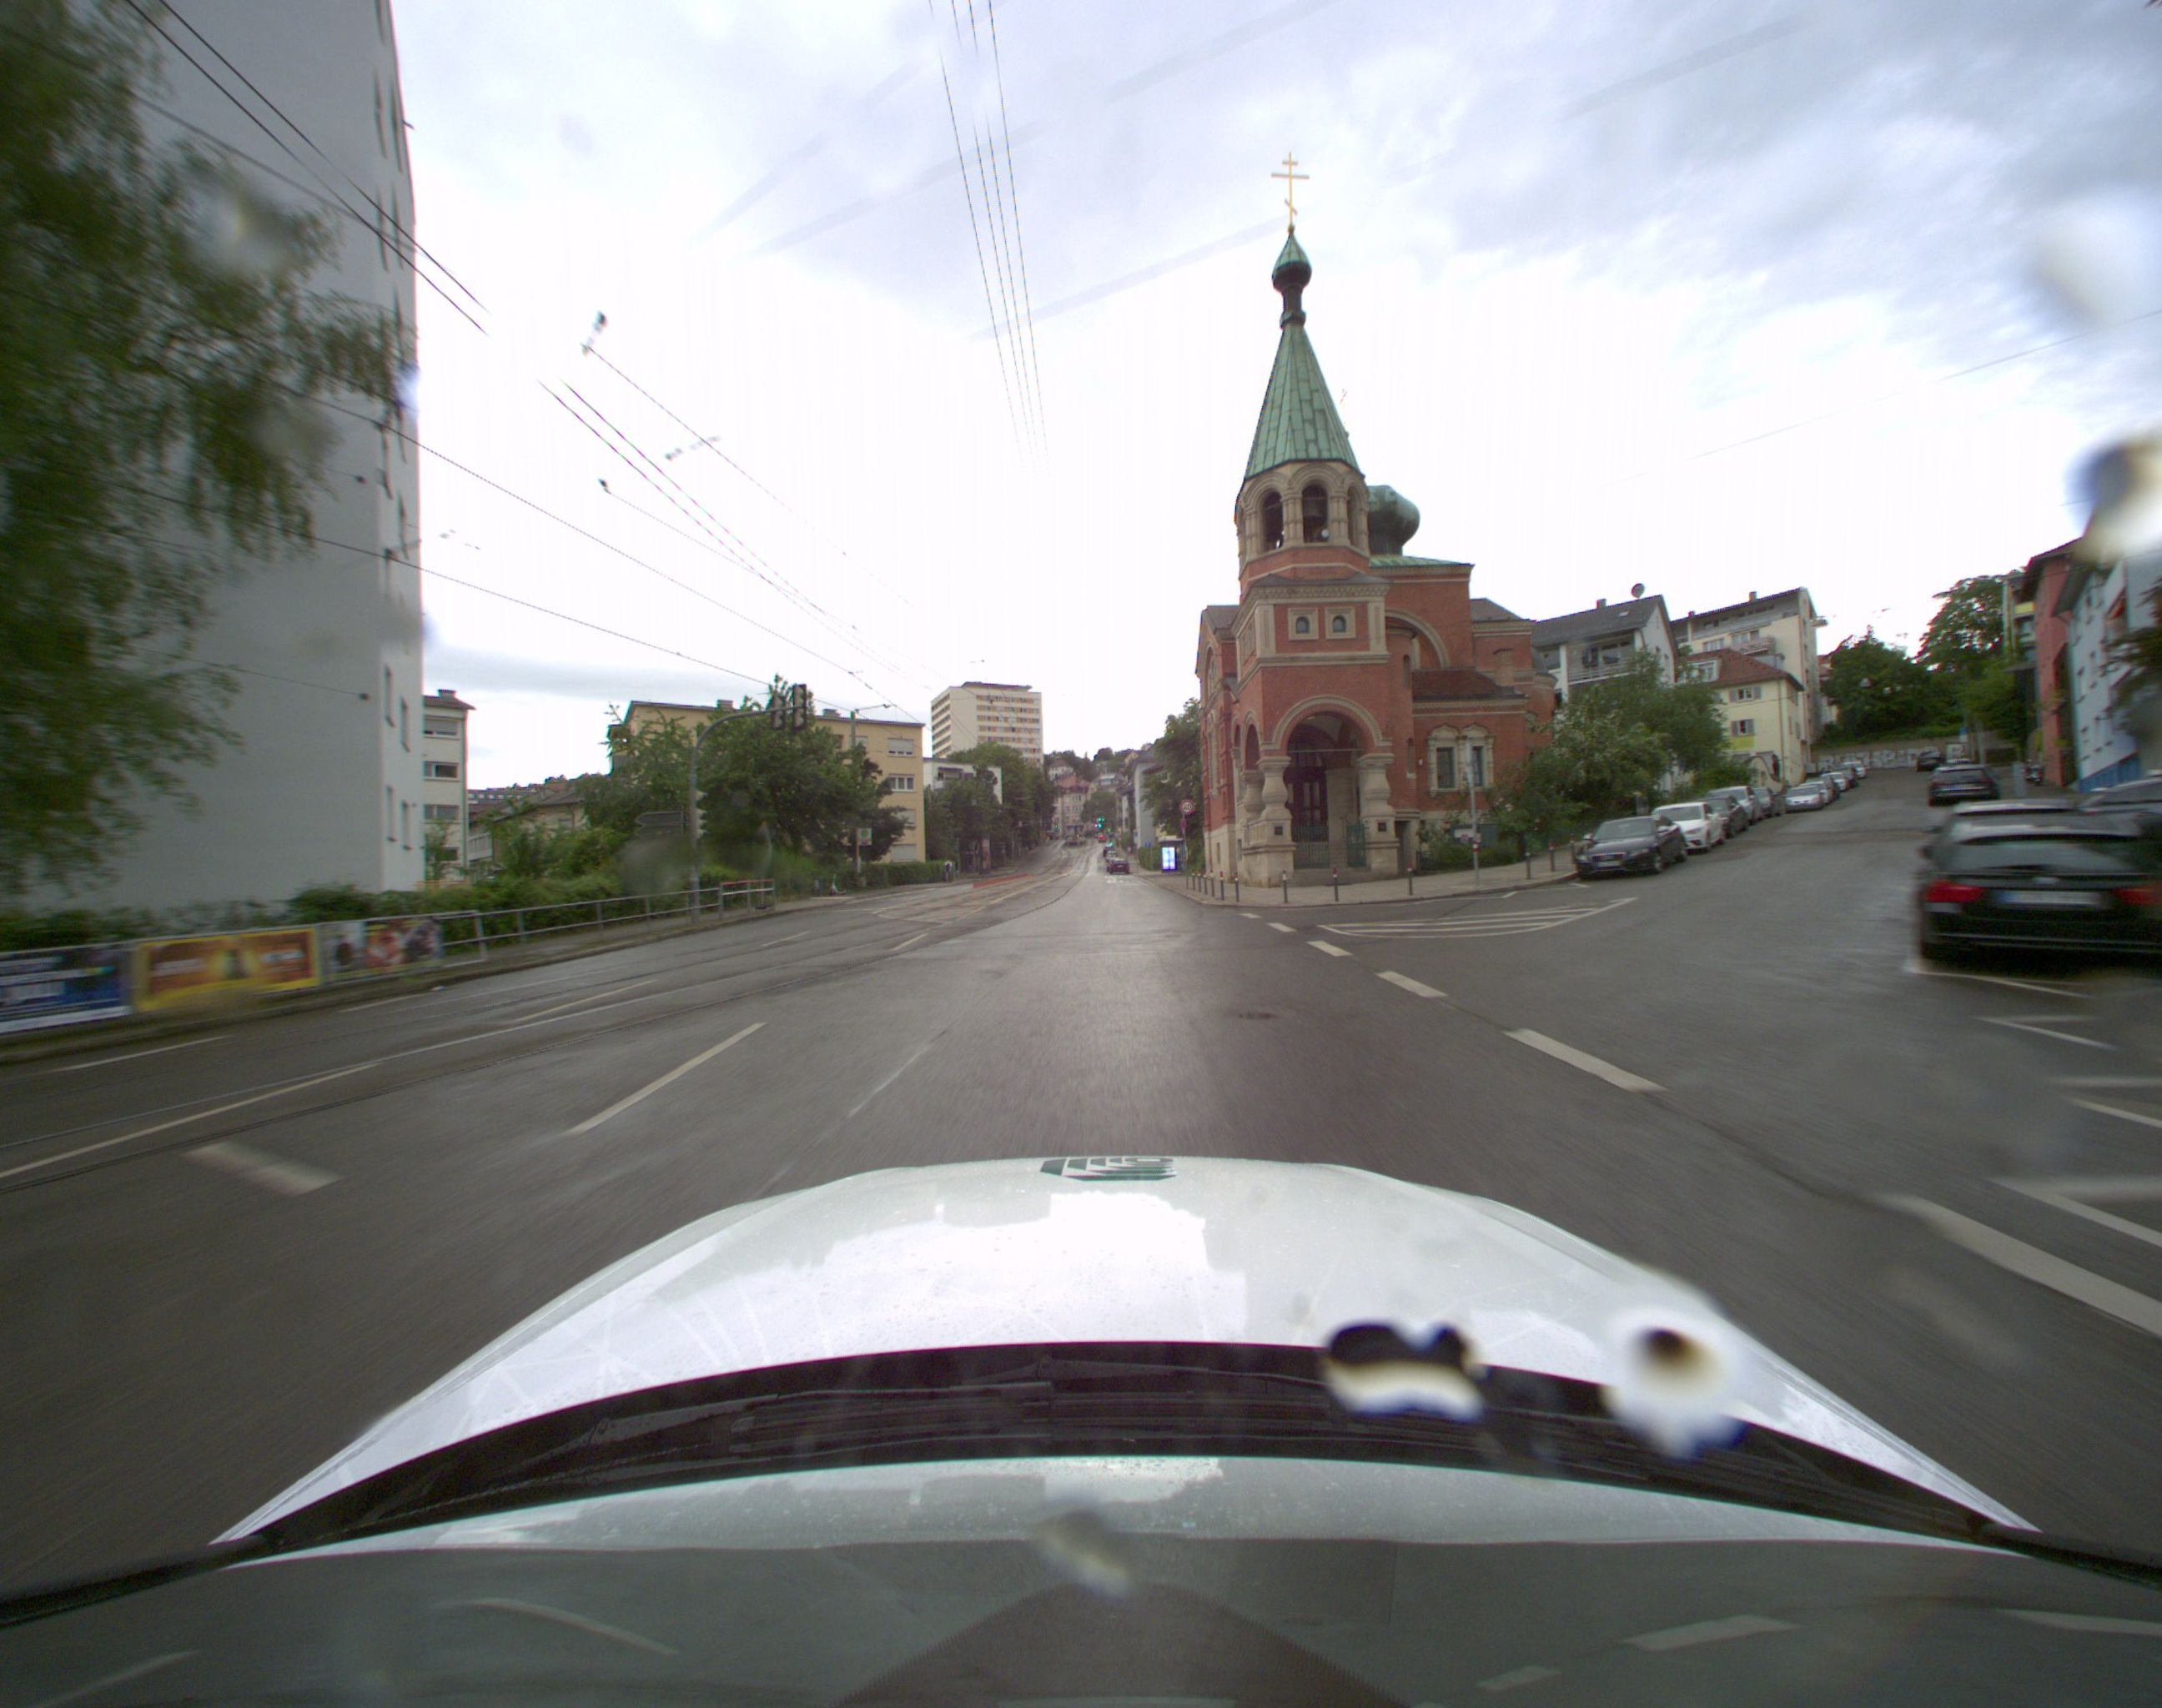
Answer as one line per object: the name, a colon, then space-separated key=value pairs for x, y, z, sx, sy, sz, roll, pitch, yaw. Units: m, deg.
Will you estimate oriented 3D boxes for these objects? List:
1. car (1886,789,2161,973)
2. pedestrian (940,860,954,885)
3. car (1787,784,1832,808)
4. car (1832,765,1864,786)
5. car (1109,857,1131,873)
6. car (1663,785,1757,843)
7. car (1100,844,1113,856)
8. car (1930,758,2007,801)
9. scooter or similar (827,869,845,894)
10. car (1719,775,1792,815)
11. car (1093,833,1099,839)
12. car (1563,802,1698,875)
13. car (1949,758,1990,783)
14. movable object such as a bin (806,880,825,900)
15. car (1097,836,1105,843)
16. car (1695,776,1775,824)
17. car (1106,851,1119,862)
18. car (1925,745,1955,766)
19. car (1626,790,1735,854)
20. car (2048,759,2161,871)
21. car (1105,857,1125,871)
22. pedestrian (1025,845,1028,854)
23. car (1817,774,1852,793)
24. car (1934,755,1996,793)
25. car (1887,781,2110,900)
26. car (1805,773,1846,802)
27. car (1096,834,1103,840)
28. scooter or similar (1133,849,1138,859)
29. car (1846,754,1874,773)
car: x=10.281 y=0.161 z=8.919 sx=4.476 sy=1.457 sz=1.977 roll=-6 pitch=1 yaw=-45
pedestrian: x=-10.201 y=1.420 z=62.050 sx=0.917 sy=1.846 sz=1.016 roll=-1 pitch=-2 yaw=-3
car: x=44.736 y=-3.590 z=49.962 sx=3.851 sy=1.205 sz=1.672 roll=-6 pitch=1 yaw=-43
car: x=63.713 y=-6.535 z=67.663 sx=3.852 sy=1.204 sz=1.672 roll=-12 pitch=5 yaw=-43
car: x=3.722 y=1.028 z=78.862 sx=1.852 sy=1.487 sz=4.644 roll=-1 pitch=0 yaw=0
car: x=22.109 y=-1.417 z=28.590 sx=3.653 sy=1.443 sz=1.918 roll=-10 pitch=0 yaw=-43
car: x=4.142 y=-0.660 z=131.657 sx=1.900 sy=1.641 sz=4.690 roll=-1 pitch=2 yaw=0
car: x=34.895 y=-2.883 z=31.996 sx=4.021 sy=1.406 sz=1.807 roll=-3 pitch=0 yaw=-40
scooter or similar: x=-12.023 y=1.335 z=40.006 sx=0.572 sy=1.184 sz=1.595 roll=-1 pitch=-2 yaw=-7
car: x=30.287 y=-2.594 z=36.502 sx=4.474 sy=1.507 sz=1.918 roll=-3 pitch=-1 yaw=-43
car: x=4.655 y=-5.774 z=259.123 sx=1.900 sy=1.641 sz=4.690 roll=-1 pitch=2 yaw=0
car: x=14.646 y=-0.454 z=21.584 sx=4.506 sy=1.368 sz=1.918 roll=-8 pitch=1 yaw=-43
car: x=64.701 y=-6.096 z=59.290 sx=4.022 sy=1.455 sz=1.807 roll=-8 pitch=4 yaw=-40
movable object such as a bin: x=-12.354 y=1.668 z=37.902 sx=0.685 sy=0.882 sz=0.759 roll=-1 pitch=-2 yaw=-4
car: x=5.002 y=-3.624 z=203.624 sx=1.793 sy=1.645 sz=4.005 roll=-1 pitch=0 yaw=4
car: x=26.230 y=-2.170 z=32.635 sx=3.869 sy=1.514 sz=1.918 roll=-9 pitch=3 yaw=-43
car: x=4.394 y=0.372 z=115.378 sx=1.699 sy=1.433 sz=4.102 roll=-1 pitch=2 yaw=0
car: x=78.612 y=-9.036 z=74.564 sx=4.026 sy=1.405 sz=1.806 roll=-14 pitch=7 yaw=-44
car: x=18.492 y=-1.008 z=25.048 sx=3.953 sy=1.495 sz=1.923 roll=-7 pitch=1 yaw=-43
car: x=18.715 y=-0.874 z=12.569 sx=2.008 sy=1.617 sz=4.408 roll=-8 pitch=-3 yaw=-27
car: x=3.779 y=1.112 z=90.430 sx=1.934 sy=1.464 sz=4.204 roll=-1 pitch=0 yaw=-1
pedestrian: x=-9.786 y=-0.799 z=147.077 sx=0.581 sy=1.600 sz=0.868 roll=0 pitch=1 yaw=-3
car: x=58.459 y=-5.463 z=63.191 sx=3.851 sy=1.205 sz=1.672 roll=-7 pitch=2 yaw=-43
car: x=42.667 y=-3.801 z=39.283 sx=4.021 sy=1.530 sz=1.807 roll=-3 pitch=0 yaw=-40
car: x=14.243 y=-0.267 z=12.717 sx=4.474 sy=1.457 sz=1.978 roll=-6 pitch=1 yaw=-41
car: x=48.578 y=-4.351 z=53.124 sx=3.852 sy=1.578 sz=1.672 roll=-7 pitch=2 yaw=-44
car: x=5.211 y=-4.929 z=232.383 sx=1.900 sy=1.641 sz=4.690 roll=-1 pitch=2 yaw=0
scooter or similar: x=7.750 y=-0.030 z=116.018 sx=0.572 sy=1.249 sz=1.613 roll=-2 pitch=4 yaw=6
car: x=71.548 y=-8.334 z=74.787 sx=3.852 sy=1.270 sz=1.672 roll=-12 pitch=5 yaw=-43
